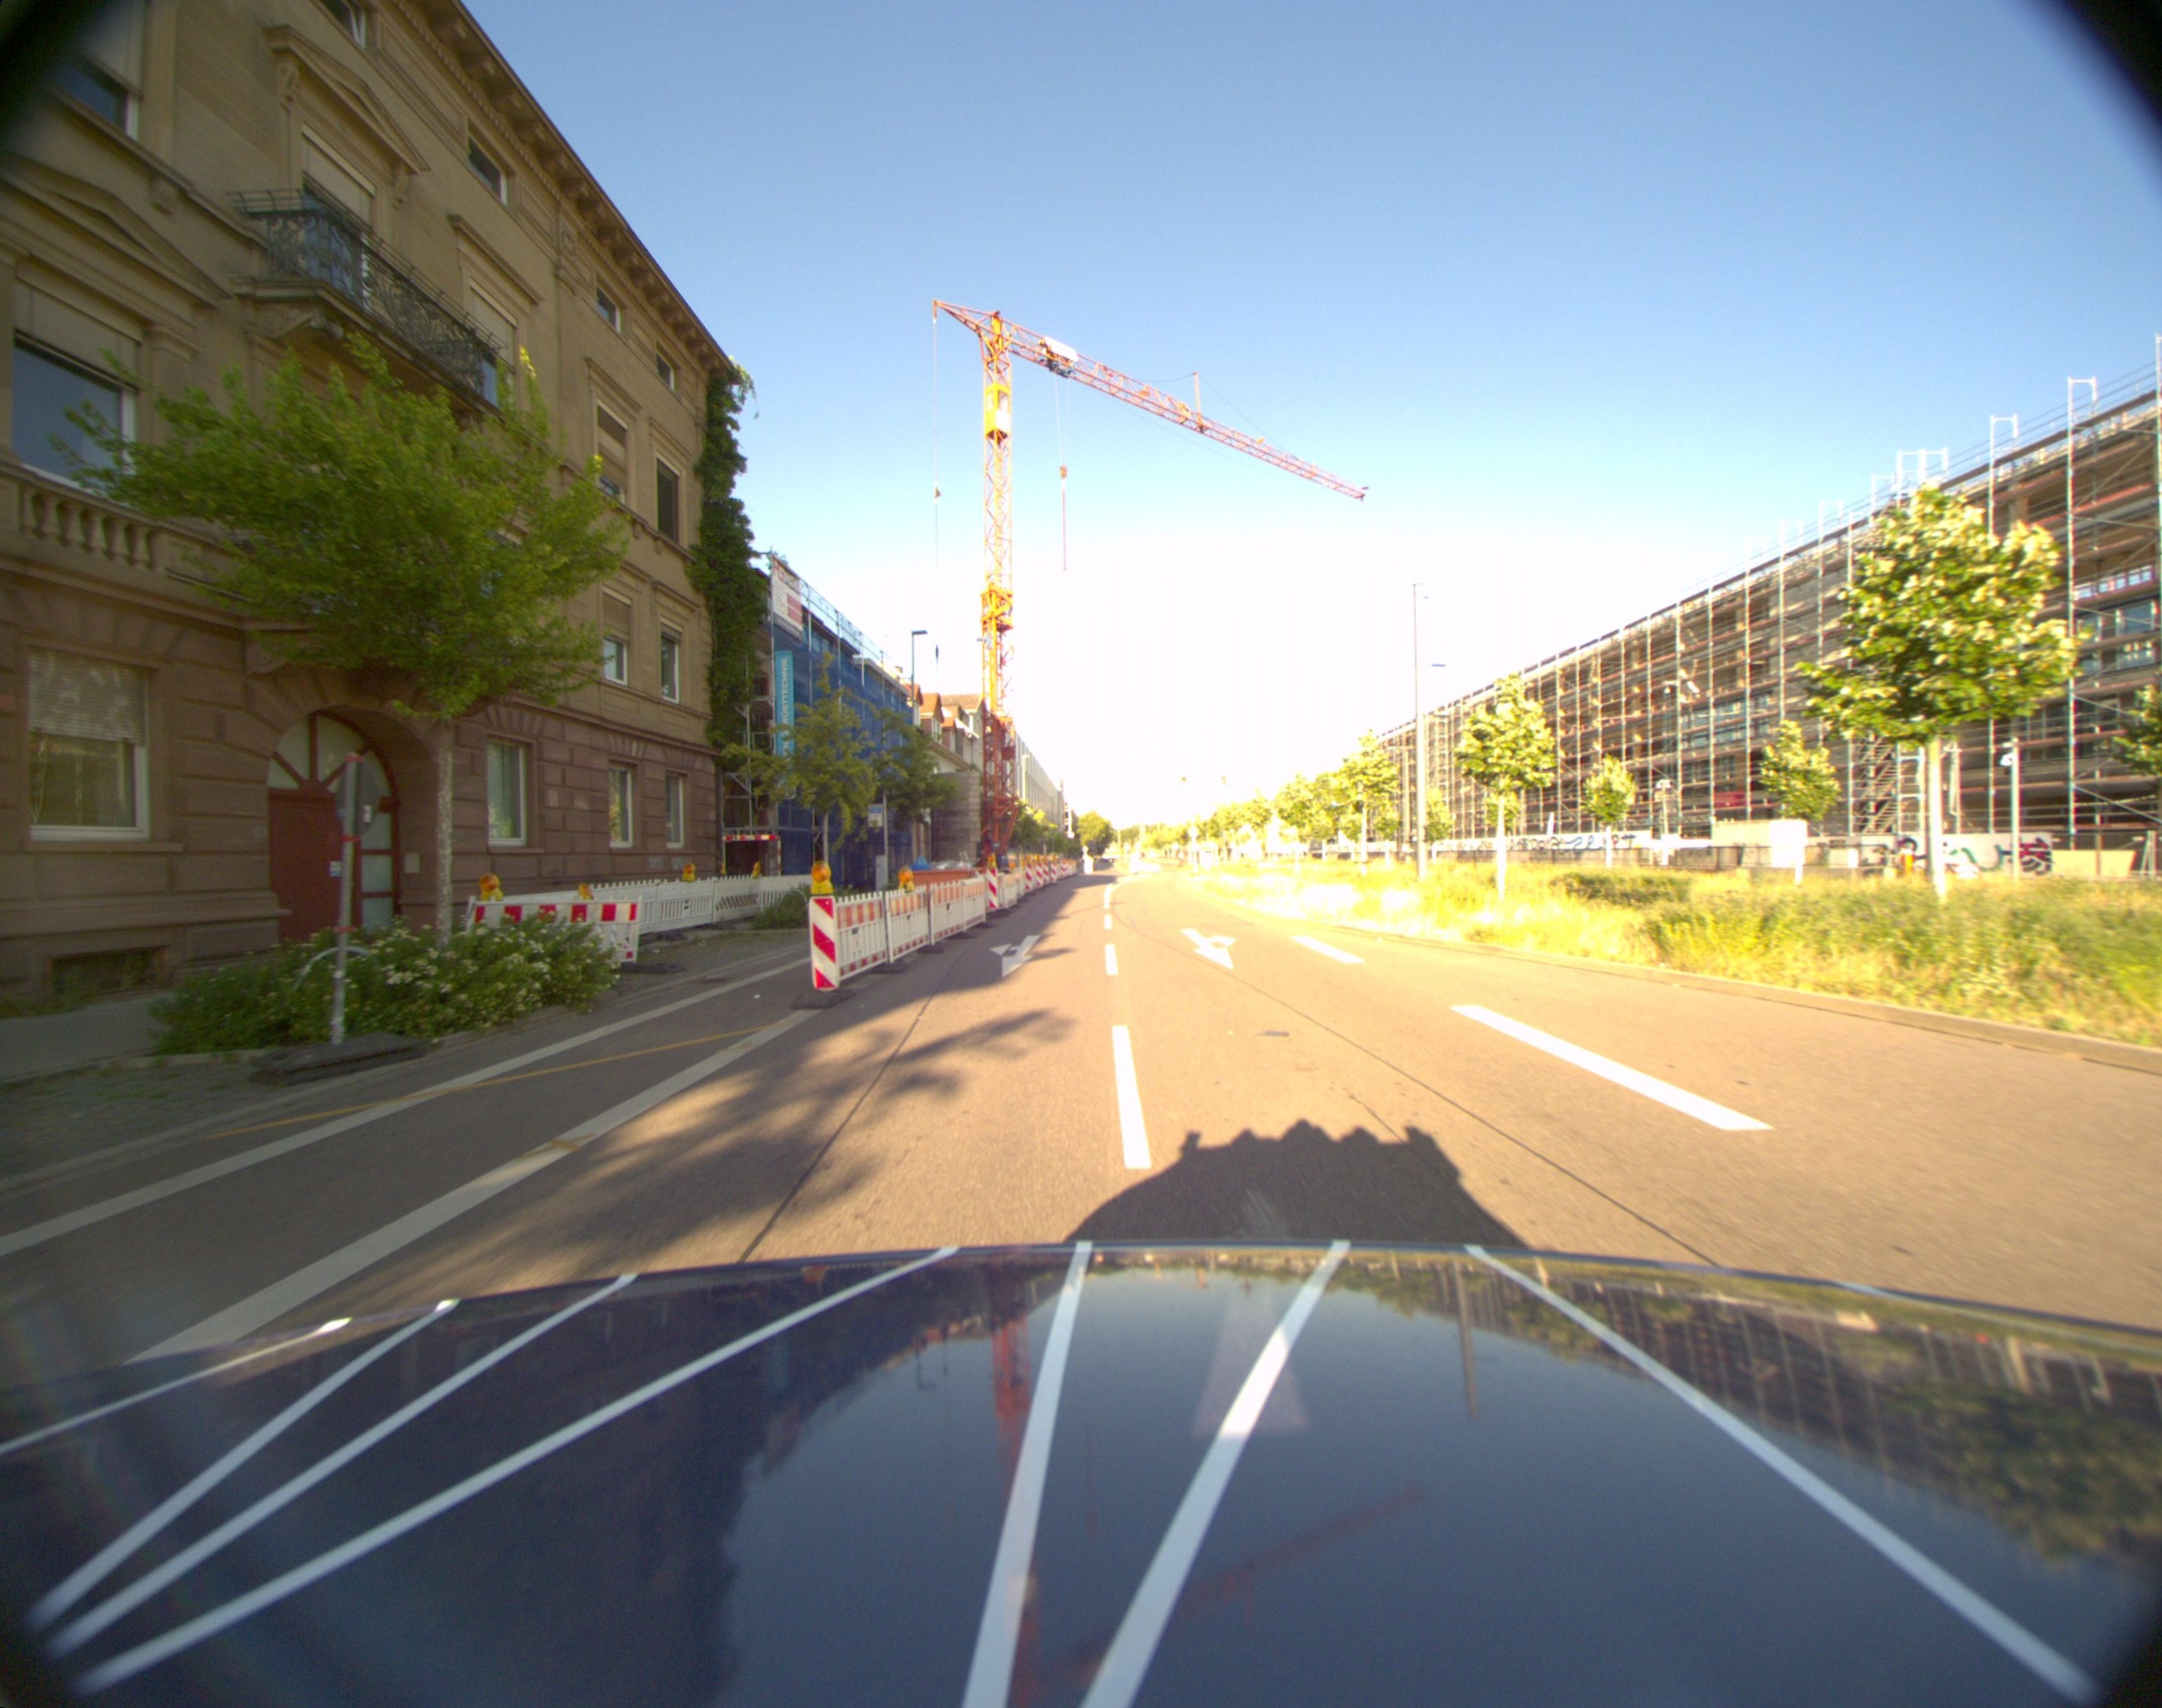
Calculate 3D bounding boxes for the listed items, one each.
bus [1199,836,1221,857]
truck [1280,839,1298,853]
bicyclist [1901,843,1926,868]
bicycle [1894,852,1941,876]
[{"bbox_3d":[20.803,-1.195,122.986,2.723,3.203,8.658,-1,0,5],"label":"bus"},{"bbox_3d":[36.962,-1.405,134.877,2.143,2.559,4.741,-1,0,4],"label":"truck"},{"bbox_3d":[38.523,0.086,35.168,0.479,1.147,0.638,-1,1,2],"label":"bicyclist"},{"bbox_3d":[38.550,0.445,35.017,0.479,1.055,1.564,-1,0,2],"label":"bicycle"}]
